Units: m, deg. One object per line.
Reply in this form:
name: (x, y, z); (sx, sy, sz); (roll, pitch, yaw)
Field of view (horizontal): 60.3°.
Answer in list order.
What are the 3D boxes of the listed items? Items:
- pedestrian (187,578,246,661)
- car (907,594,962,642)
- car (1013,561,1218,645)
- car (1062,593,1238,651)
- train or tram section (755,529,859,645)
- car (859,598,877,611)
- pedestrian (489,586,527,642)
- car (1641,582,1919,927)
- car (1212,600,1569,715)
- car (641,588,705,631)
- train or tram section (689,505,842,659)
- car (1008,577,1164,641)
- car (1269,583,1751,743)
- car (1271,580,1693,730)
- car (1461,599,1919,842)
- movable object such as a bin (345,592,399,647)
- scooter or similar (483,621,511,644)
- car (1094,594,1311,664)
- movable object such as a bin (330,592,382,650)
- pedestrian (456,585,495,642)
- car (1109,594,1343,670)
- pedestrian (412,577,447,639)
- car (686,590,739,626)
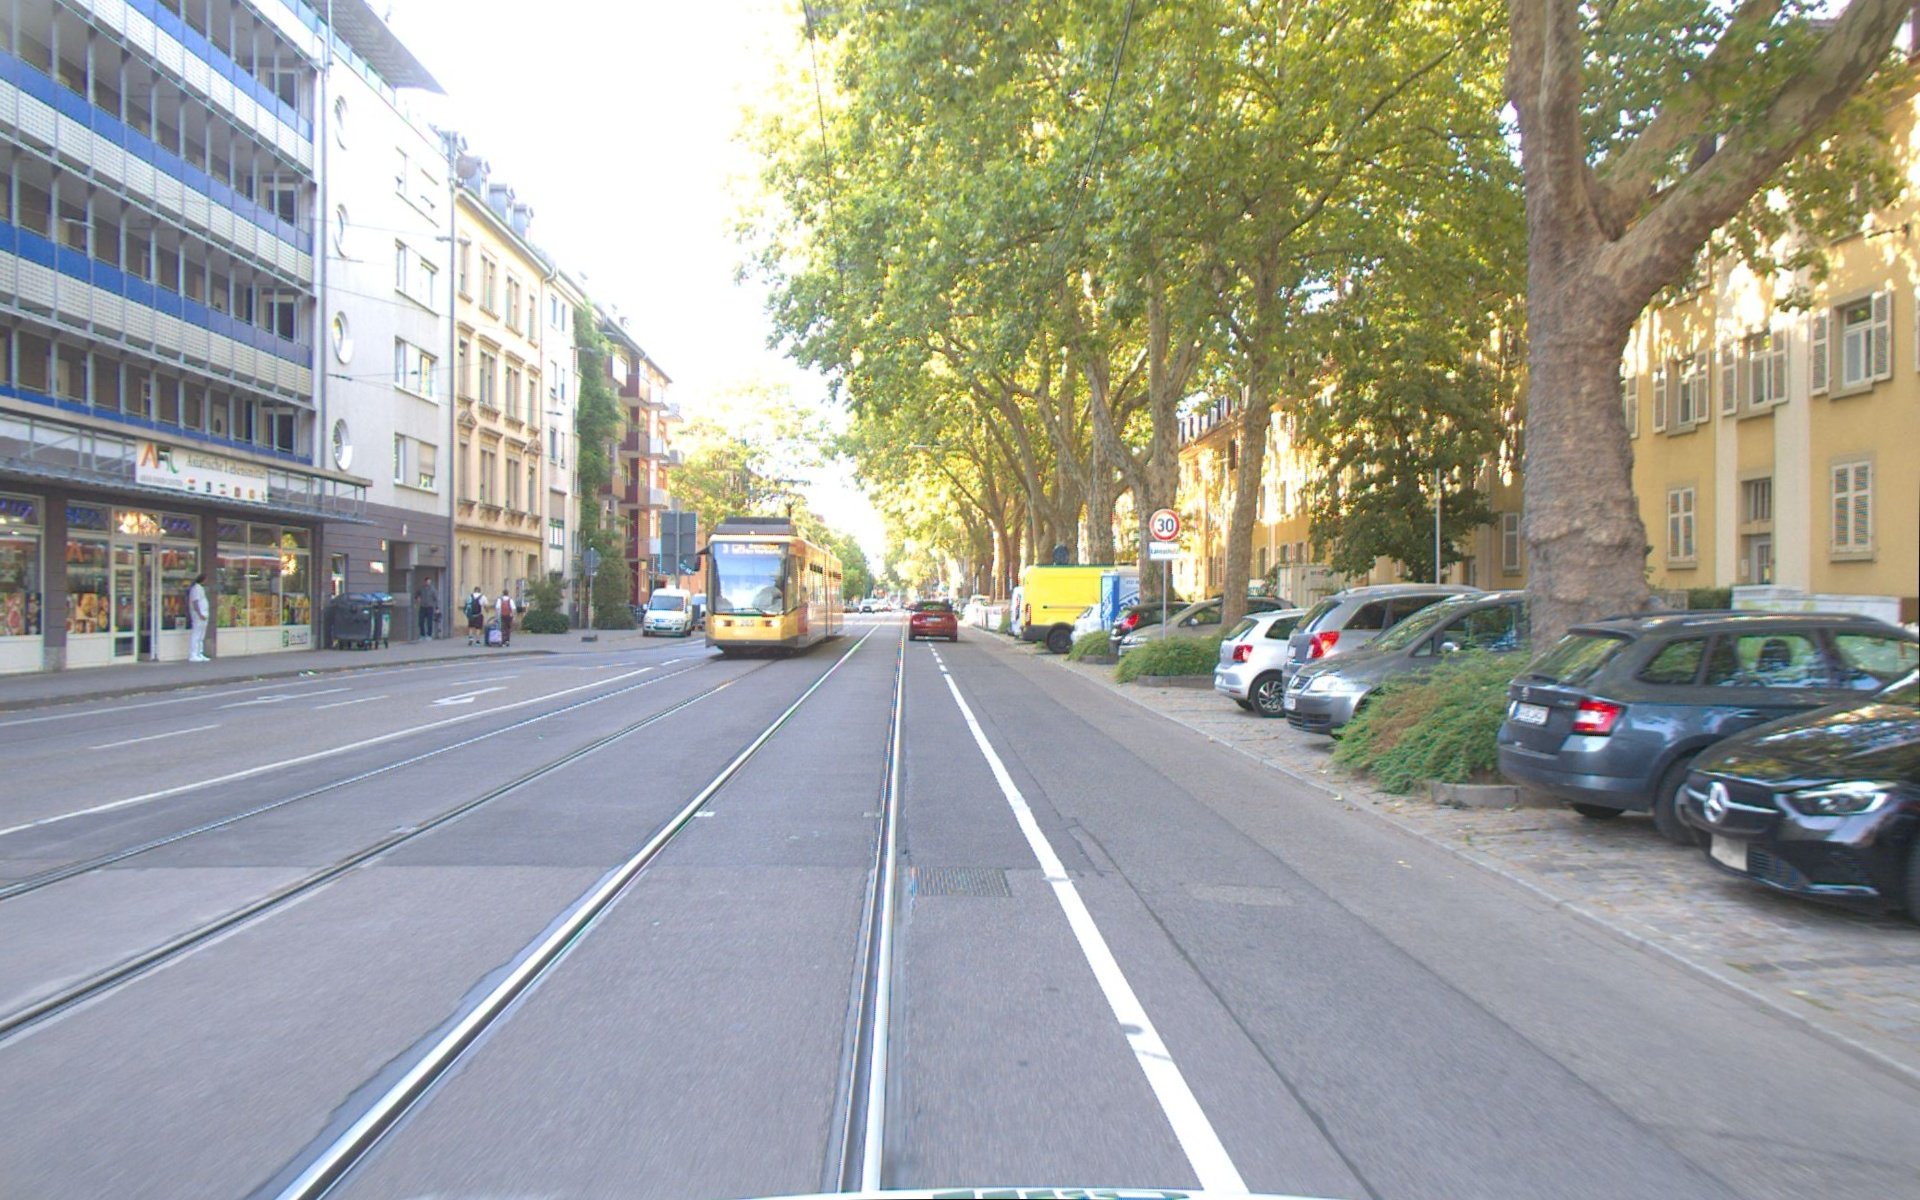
pedestrian: (-15.370, 0.395, 34.229); (1.014, 1.691, 1.220); (0, 0, -21)
car: (-0.924, 0.663, 59.855); (1.855, 1.591, 4.391); (-1, -1, -1)
car: (4.524, 0.078, 48.628); (5.824, 2.407, 2.060); (0, 0, -1)
car: (5.249, 0.600, 46.090); (4.618, 1.561, 1.918); (0, 0, -4)
train or tram section: (-5.266, -0.430, 59.231); (2.774, 3.702, 12.814); (0, 0, -1)
car: (-10.995, 0.499, 196.766); (1.955, 1.536, 3.995); (0, 0, -6)
pedestrian: (-13.478, 0.399, 49.370); (0.874, 1.653, 1.034); (0, 0, -1)
car: (6.335, 0.724, 8.842); (4.616, 1.630, 1.919); (0, 0, -1)
car: (6.075, 0.786, 23.706); (4.617, 1.561, 1.919); (0, 0, -2)
car: (-11.057, 0.350, 63.934); (1.855, 1.591, 4.391); (0, 0, -2)
train or tram section: (-5.122, -0.442, 46.242); (2.802, 3.702, 13.196); (0, 0, 0)
car: (4.410, 0.306, 58.285); (5.332, 2.230, 2.060); (0, 0, -1)
car: (5.860, 0.651, 18.017); (4.616, 1.630, 1.919); (0, 0, -1)
car: (6.355, 0.641, 20.475); (4.617, 1.752, 1.919); (0, 0, -2)
car: (6.043, 0.767, 11.572); (4.494, 1.532, 1.918); (0, 0, -4)
movable object such as a bin: (-15.521, 0.505, 43.709); (0.992, 1.453, 1.256); (0, 0, -1)
scooter or similar: (-13.579, 0.943, 48.542); (0.612, 0.659, 0.766); (0, 0, -1)
car: (5.499, 0.648, 37.824); (4.619, 1.561, 1.918); (0, 0, -5)
movable object such as a bin: (-15.434, 0.534, 42.275); (0.993, 1.453, 1.143); (0, 0, -6)
pedestrian: (-14.276, 0.384, 48.759); (0.874, 1.653, 1.034); (0, 0, -1)
car: (5.606, 0.660, 35.168); (4.619, 1.561, 1.918); (0, 0, -4)
pedestrian: (-16.535, 0.252, 51.544); (0.882, 1.897, 0.781); (0, 0, -29)
car: (-11.124, 0.343, 74.518); (1.855, 1.591, 4.391); (0, 0, -2)
